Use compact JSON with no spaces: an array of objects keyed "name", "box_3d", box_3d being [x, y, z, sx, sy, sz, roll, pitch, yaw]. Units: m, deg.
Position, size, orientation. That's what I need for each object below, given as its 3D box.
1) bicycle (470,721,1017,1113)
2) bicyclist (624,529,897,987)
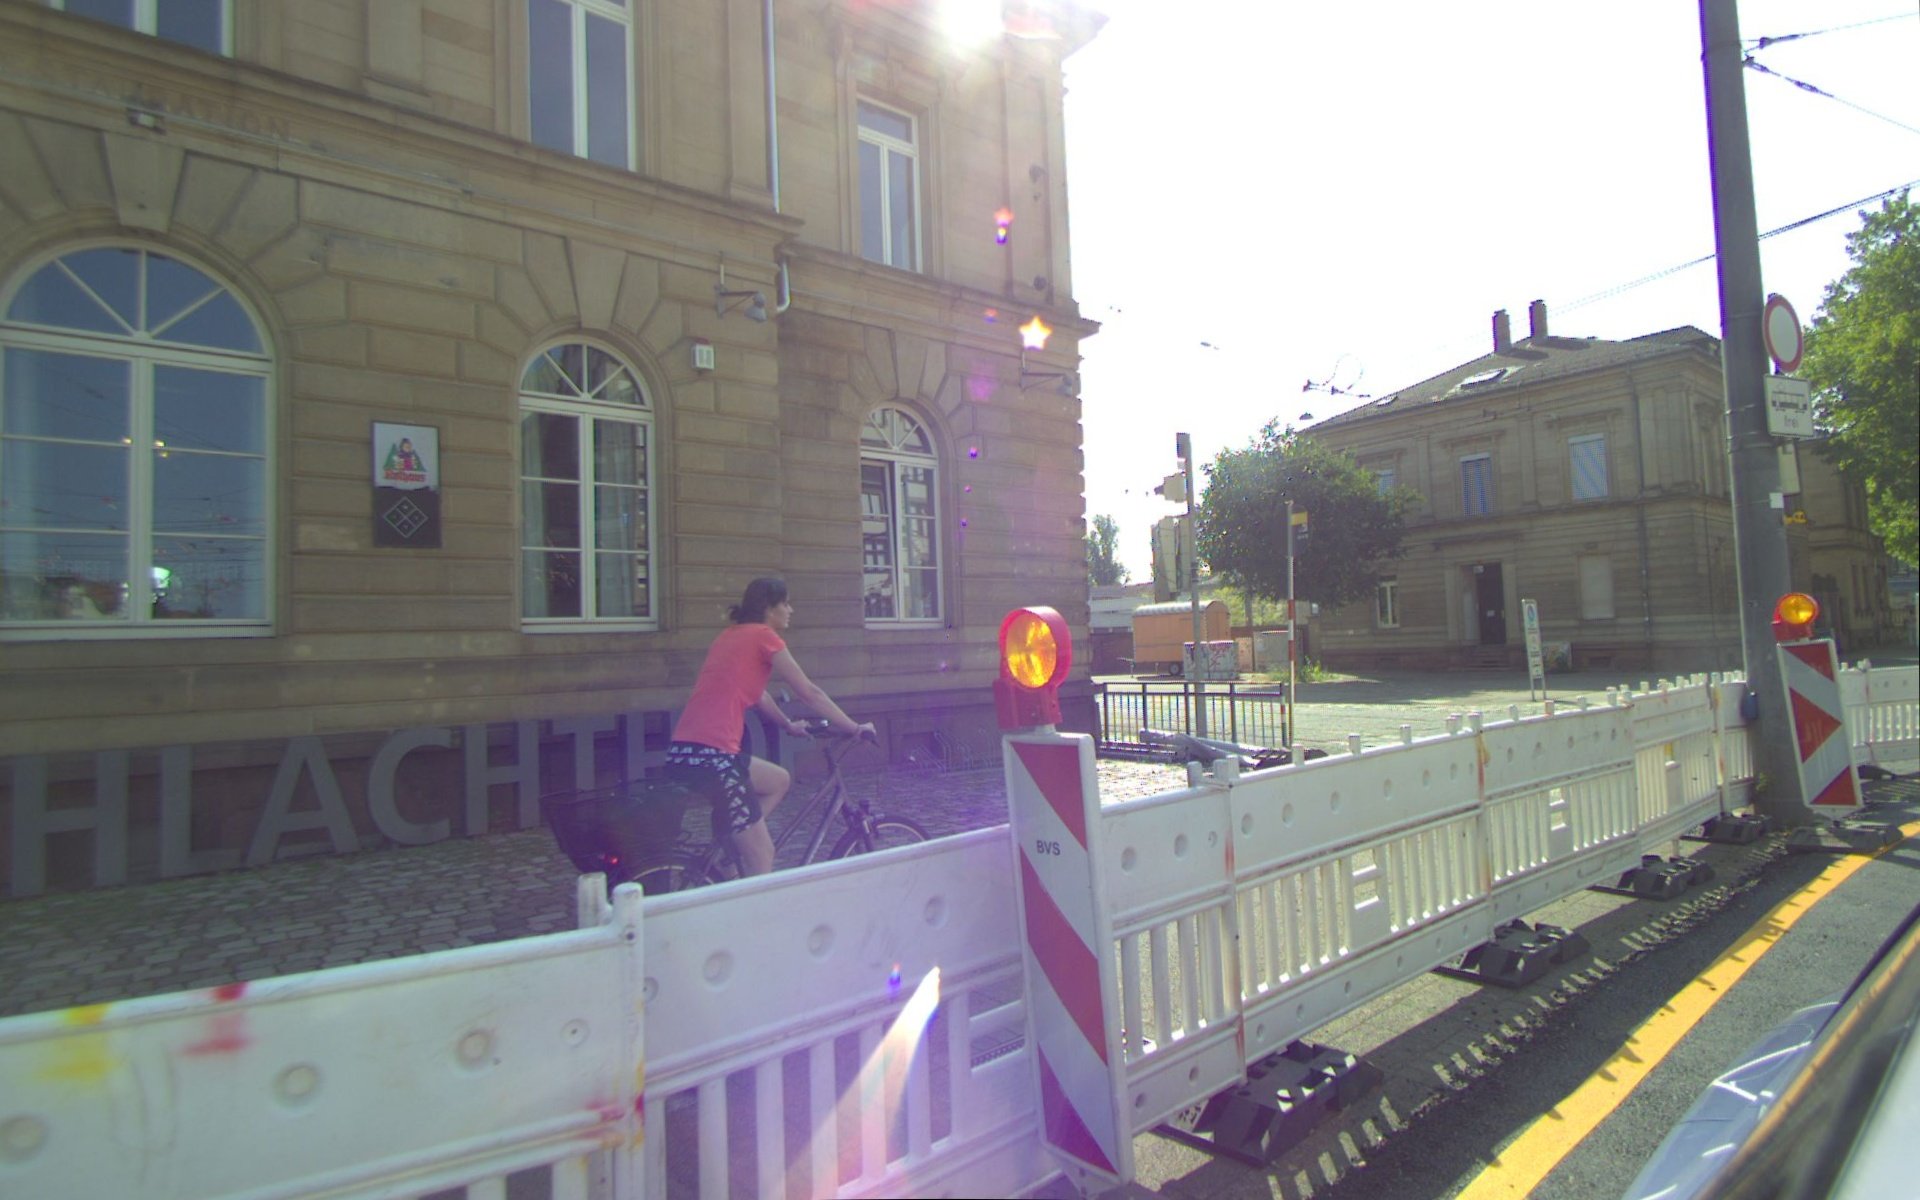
[{"name":"bicycle","box_3d":[-0.803,1.124,4.194,2.094,1.046,0.743,0,-3,-39]},{"name":"bicyclist","box_3d":[-0.839,0.578,4.210,0.838,1.647,0.736,0,-3,-39]}]
